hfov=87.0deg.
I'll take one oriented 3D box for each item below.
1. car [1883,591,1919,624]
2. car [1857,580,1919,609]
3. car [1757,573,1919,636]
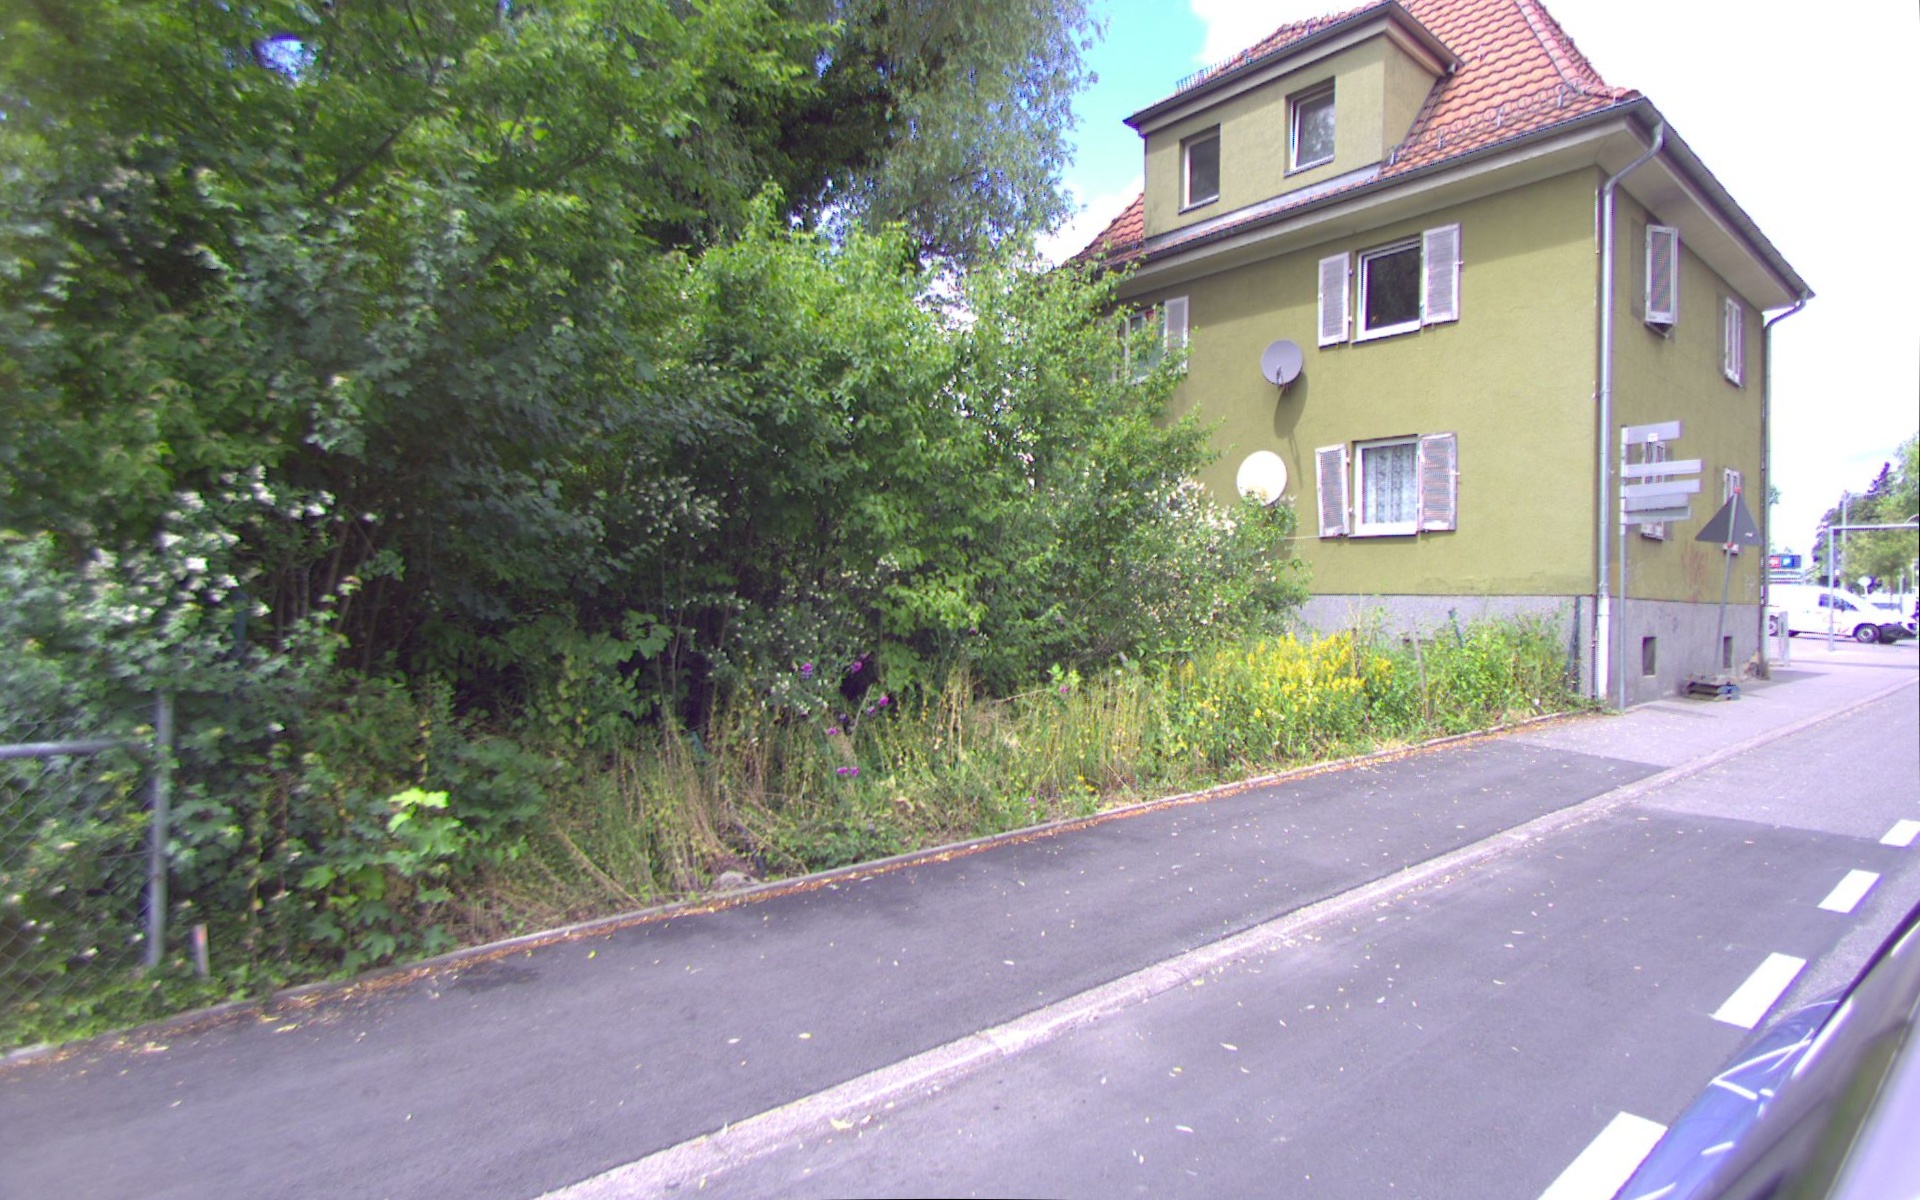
[{"bbox_3d":[48.488,0.366,51.559,3.932,1.529,1.797,-2,1,-42],"label":"car"},{"bbox_3d":[62.165,-0.375,66.504,1.762,1.820,4.514,0,2,-16],"label":"car"},{"bbox_3d":[30.307,0.094,34.631,1.961,2.019,4.374,0,1,-32],"label":"car"}]
